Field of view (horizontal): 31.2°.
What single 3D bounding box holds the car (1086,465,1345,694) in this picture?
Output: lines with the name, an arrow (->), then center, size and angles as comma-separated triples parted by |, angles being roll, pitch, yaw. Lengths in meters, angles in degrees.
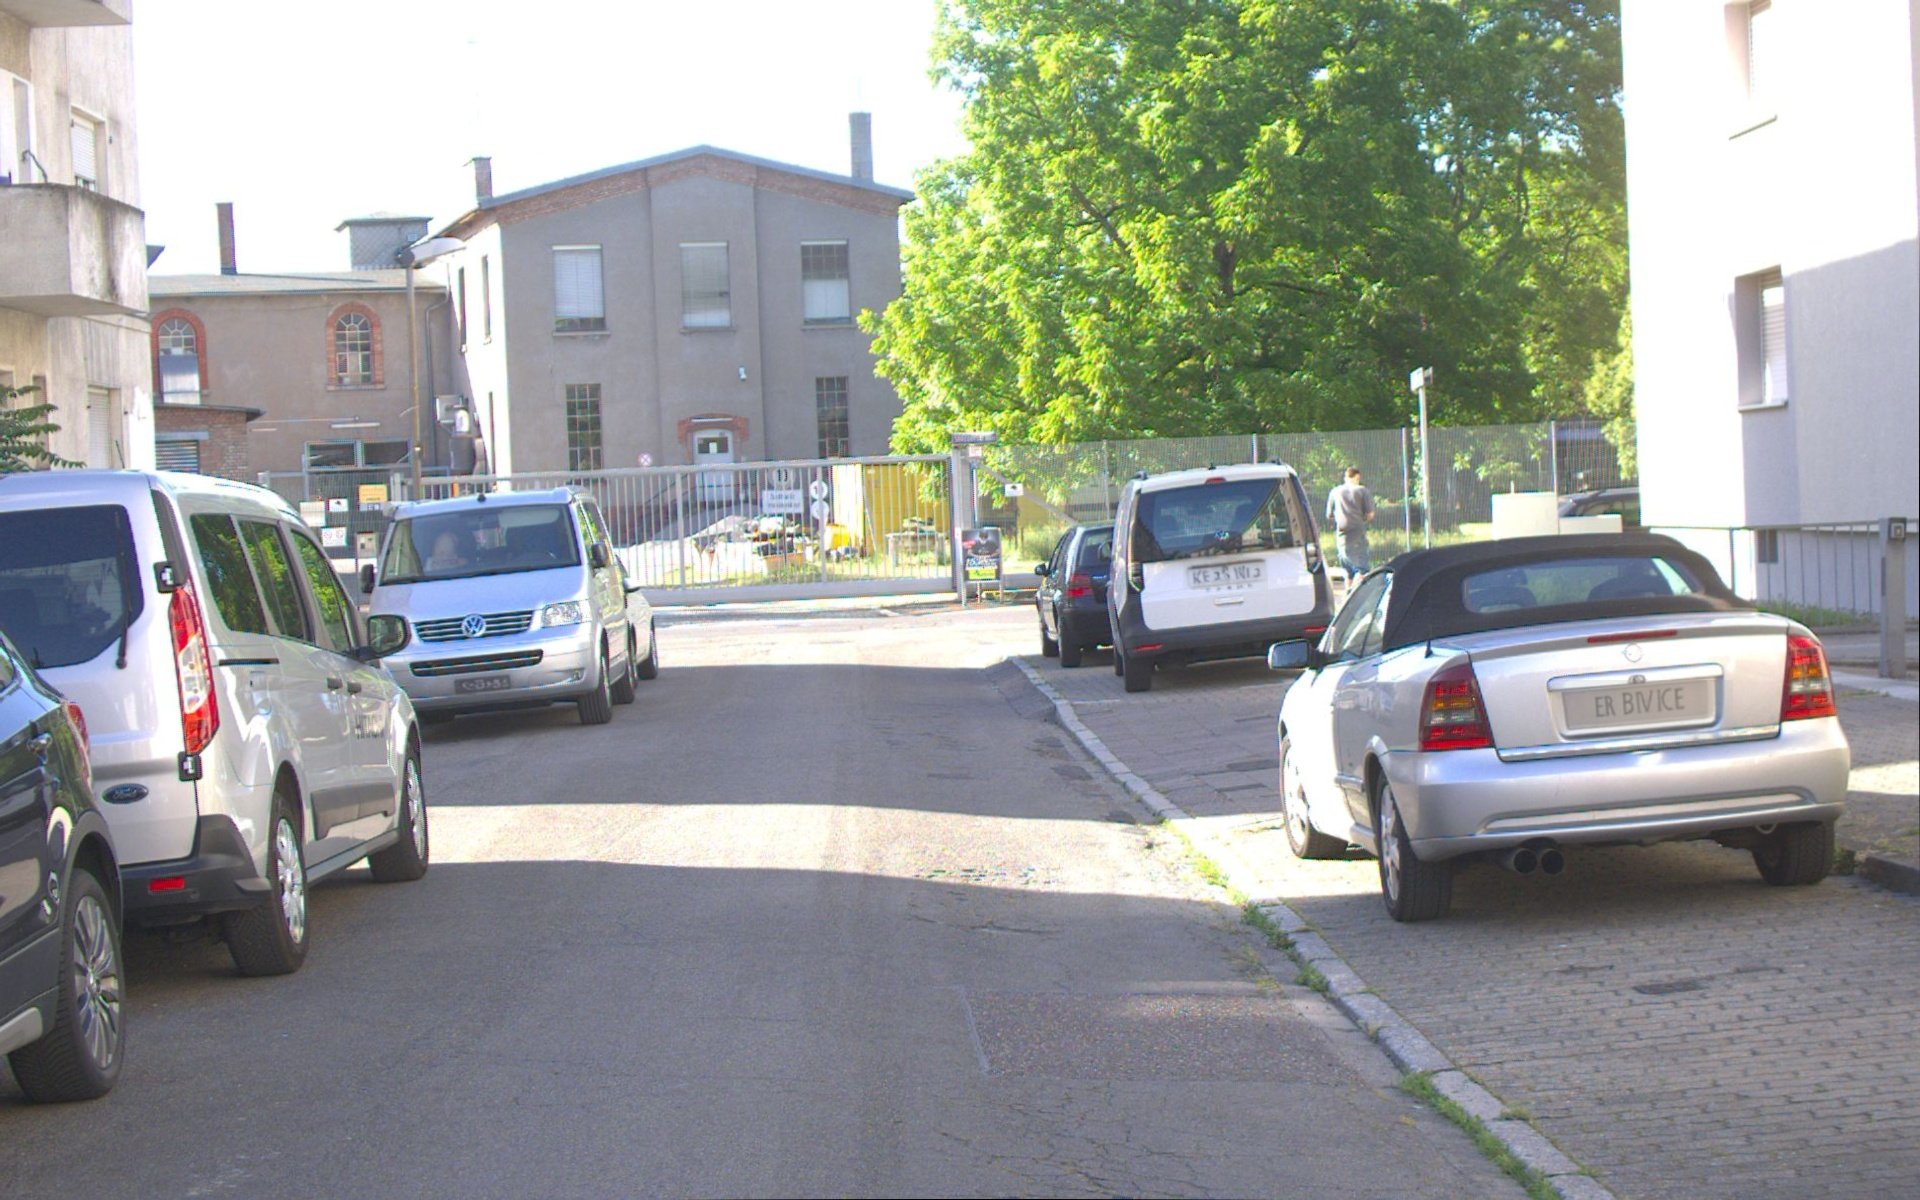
car -> 2.170, -0.202, 30.198 | 1.765, 1.733, 4.094 | -5, 1, -1

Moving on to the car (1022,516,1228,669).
car -> 1.659, -0.113, 35.797 | 1.765, 1.357, 4.094 | -5, 1, -1

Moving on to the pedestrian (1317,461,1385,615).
pedestrian -> 4.769, -0.760, 41.950 | 0.654, 1.809, 0.614 | -5, 1, 9

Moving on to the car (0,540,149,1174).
car -> -3.246, 0.693, 7.835 | 1.832, 1.510, 4.000 | -5, 1, -2

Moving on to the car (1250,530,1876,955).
car -> 2.302, 0.472, 14.163 | 1.717, 1.359, 4.055 | -5, 1, -1

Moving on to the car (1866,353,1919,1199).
car -> 2.601, 0.489, 3.630 | 1.896, 1.849, 4.344 | -3, 1, -2

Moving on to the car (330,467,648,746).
car -> -3.859, 0.009, 28.937 | 1.993, 2.006, 4.454 | -5, 1, -1

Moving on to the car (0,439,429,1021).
car -> -3.342, 0.433, 13.288 | 1.896, 1.849, 4.195 | -3, 1, -1
